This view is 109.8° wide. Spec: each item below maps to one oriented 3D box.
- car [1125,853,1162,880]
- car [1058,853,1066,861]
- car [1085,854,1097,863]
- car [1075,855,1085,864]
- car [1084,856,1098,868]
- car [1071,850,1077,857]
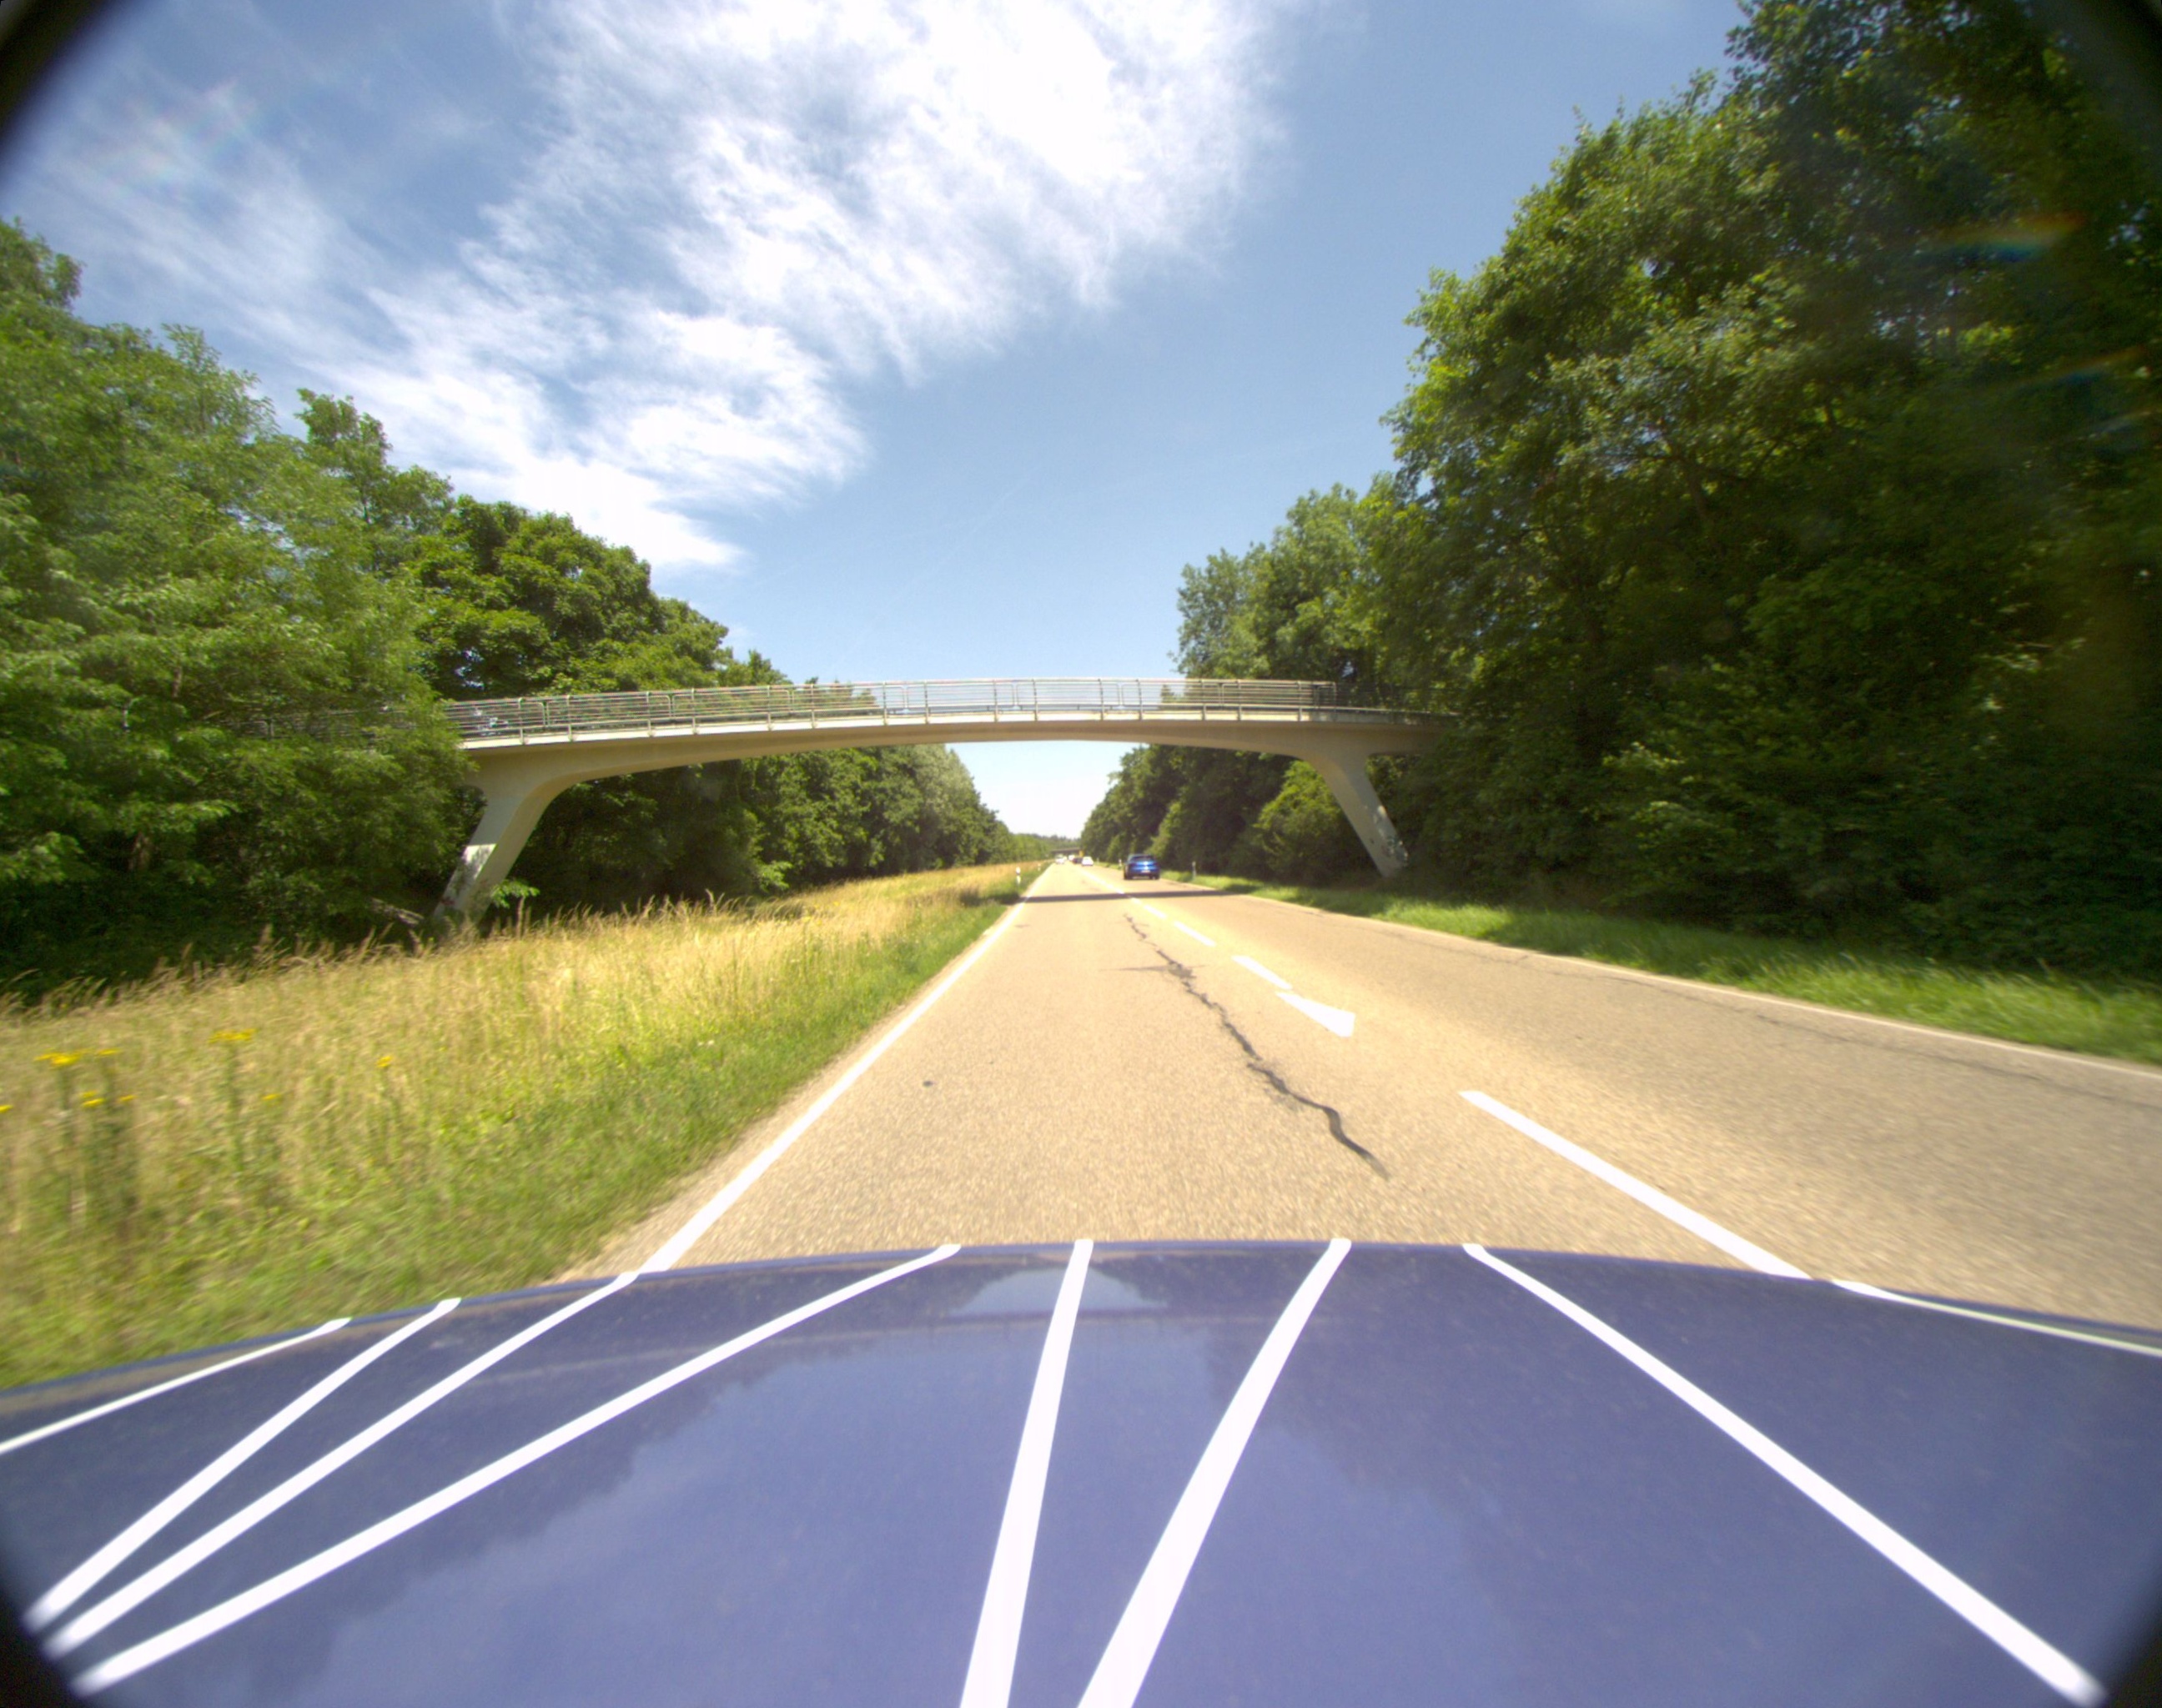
[{"bbox_3d":[3.874,0.731,47.922,1.828,1.580,4.418,-1,0,-1],"label":"car"},{"bbox_3d":[-4.559,0.747,180.725,1.865,1.747,3.999,-3,1,-2],"label":"car"},{"bbox_3d":[1.572,0.731,121.382,1.682,1.425,3.771,-1,0,-1],"label":"car"},{"bbox_3d":[-0.287,1.224,159.747,1.865,1.747,3.999,-3,1,-2],"label":"car"},{"bbox_3d":[1.597,1.167,118.831,1.865,1.747,3.999,-3,1,-2],"label":"car"},{"bbox_3d":[-2.213,-0.176,248.564,1.880,1.917,4.986,-2,0,-2],"label":"car"}]
